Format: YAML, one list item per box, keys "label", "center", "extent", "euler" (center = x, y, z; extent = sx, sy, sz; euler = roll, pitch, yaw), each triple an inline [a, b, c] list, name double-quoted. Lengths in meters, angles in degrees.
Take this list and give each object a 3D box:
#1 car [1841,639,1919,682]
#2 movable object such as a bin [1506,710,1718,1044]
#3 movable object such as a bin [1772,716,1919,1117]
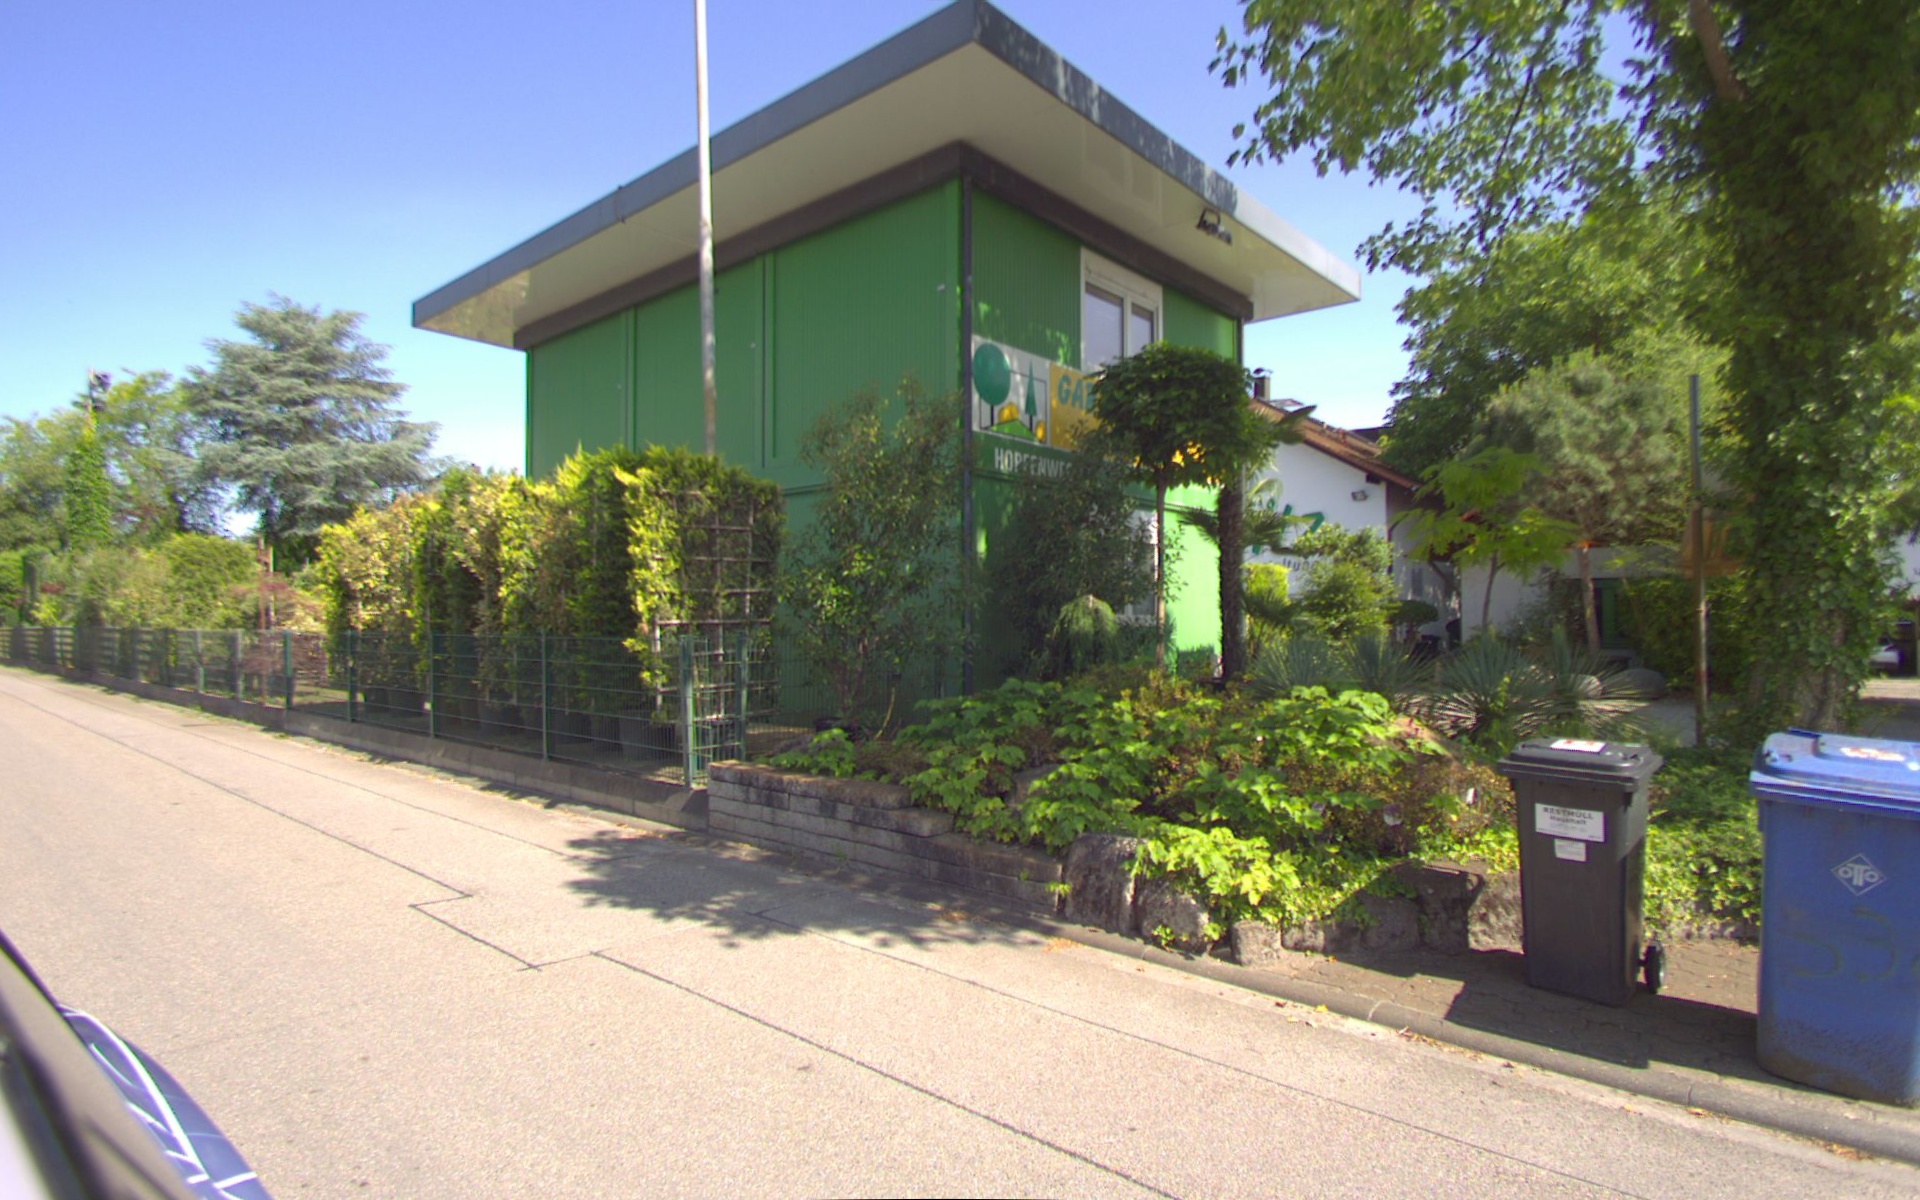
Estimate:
- label: "car"
  center: [33.606, 2.156, 36.917]
  extent: [3.940, 1.453, 1.904]
  euler: [2, -3, -44]
- label: "movable object such as a bin"
  center: [2.448, 0.972, 3.797]
  extent: [0.568, 1.032, 0.576]
  euler: [-2, -1, 42]
- label: "movable object such as a bin"
  center: [2.976, 0.947, 3.175]
  extent: [0.612, 1.062, 0.723]
  euler: [-2, -1, 42]
